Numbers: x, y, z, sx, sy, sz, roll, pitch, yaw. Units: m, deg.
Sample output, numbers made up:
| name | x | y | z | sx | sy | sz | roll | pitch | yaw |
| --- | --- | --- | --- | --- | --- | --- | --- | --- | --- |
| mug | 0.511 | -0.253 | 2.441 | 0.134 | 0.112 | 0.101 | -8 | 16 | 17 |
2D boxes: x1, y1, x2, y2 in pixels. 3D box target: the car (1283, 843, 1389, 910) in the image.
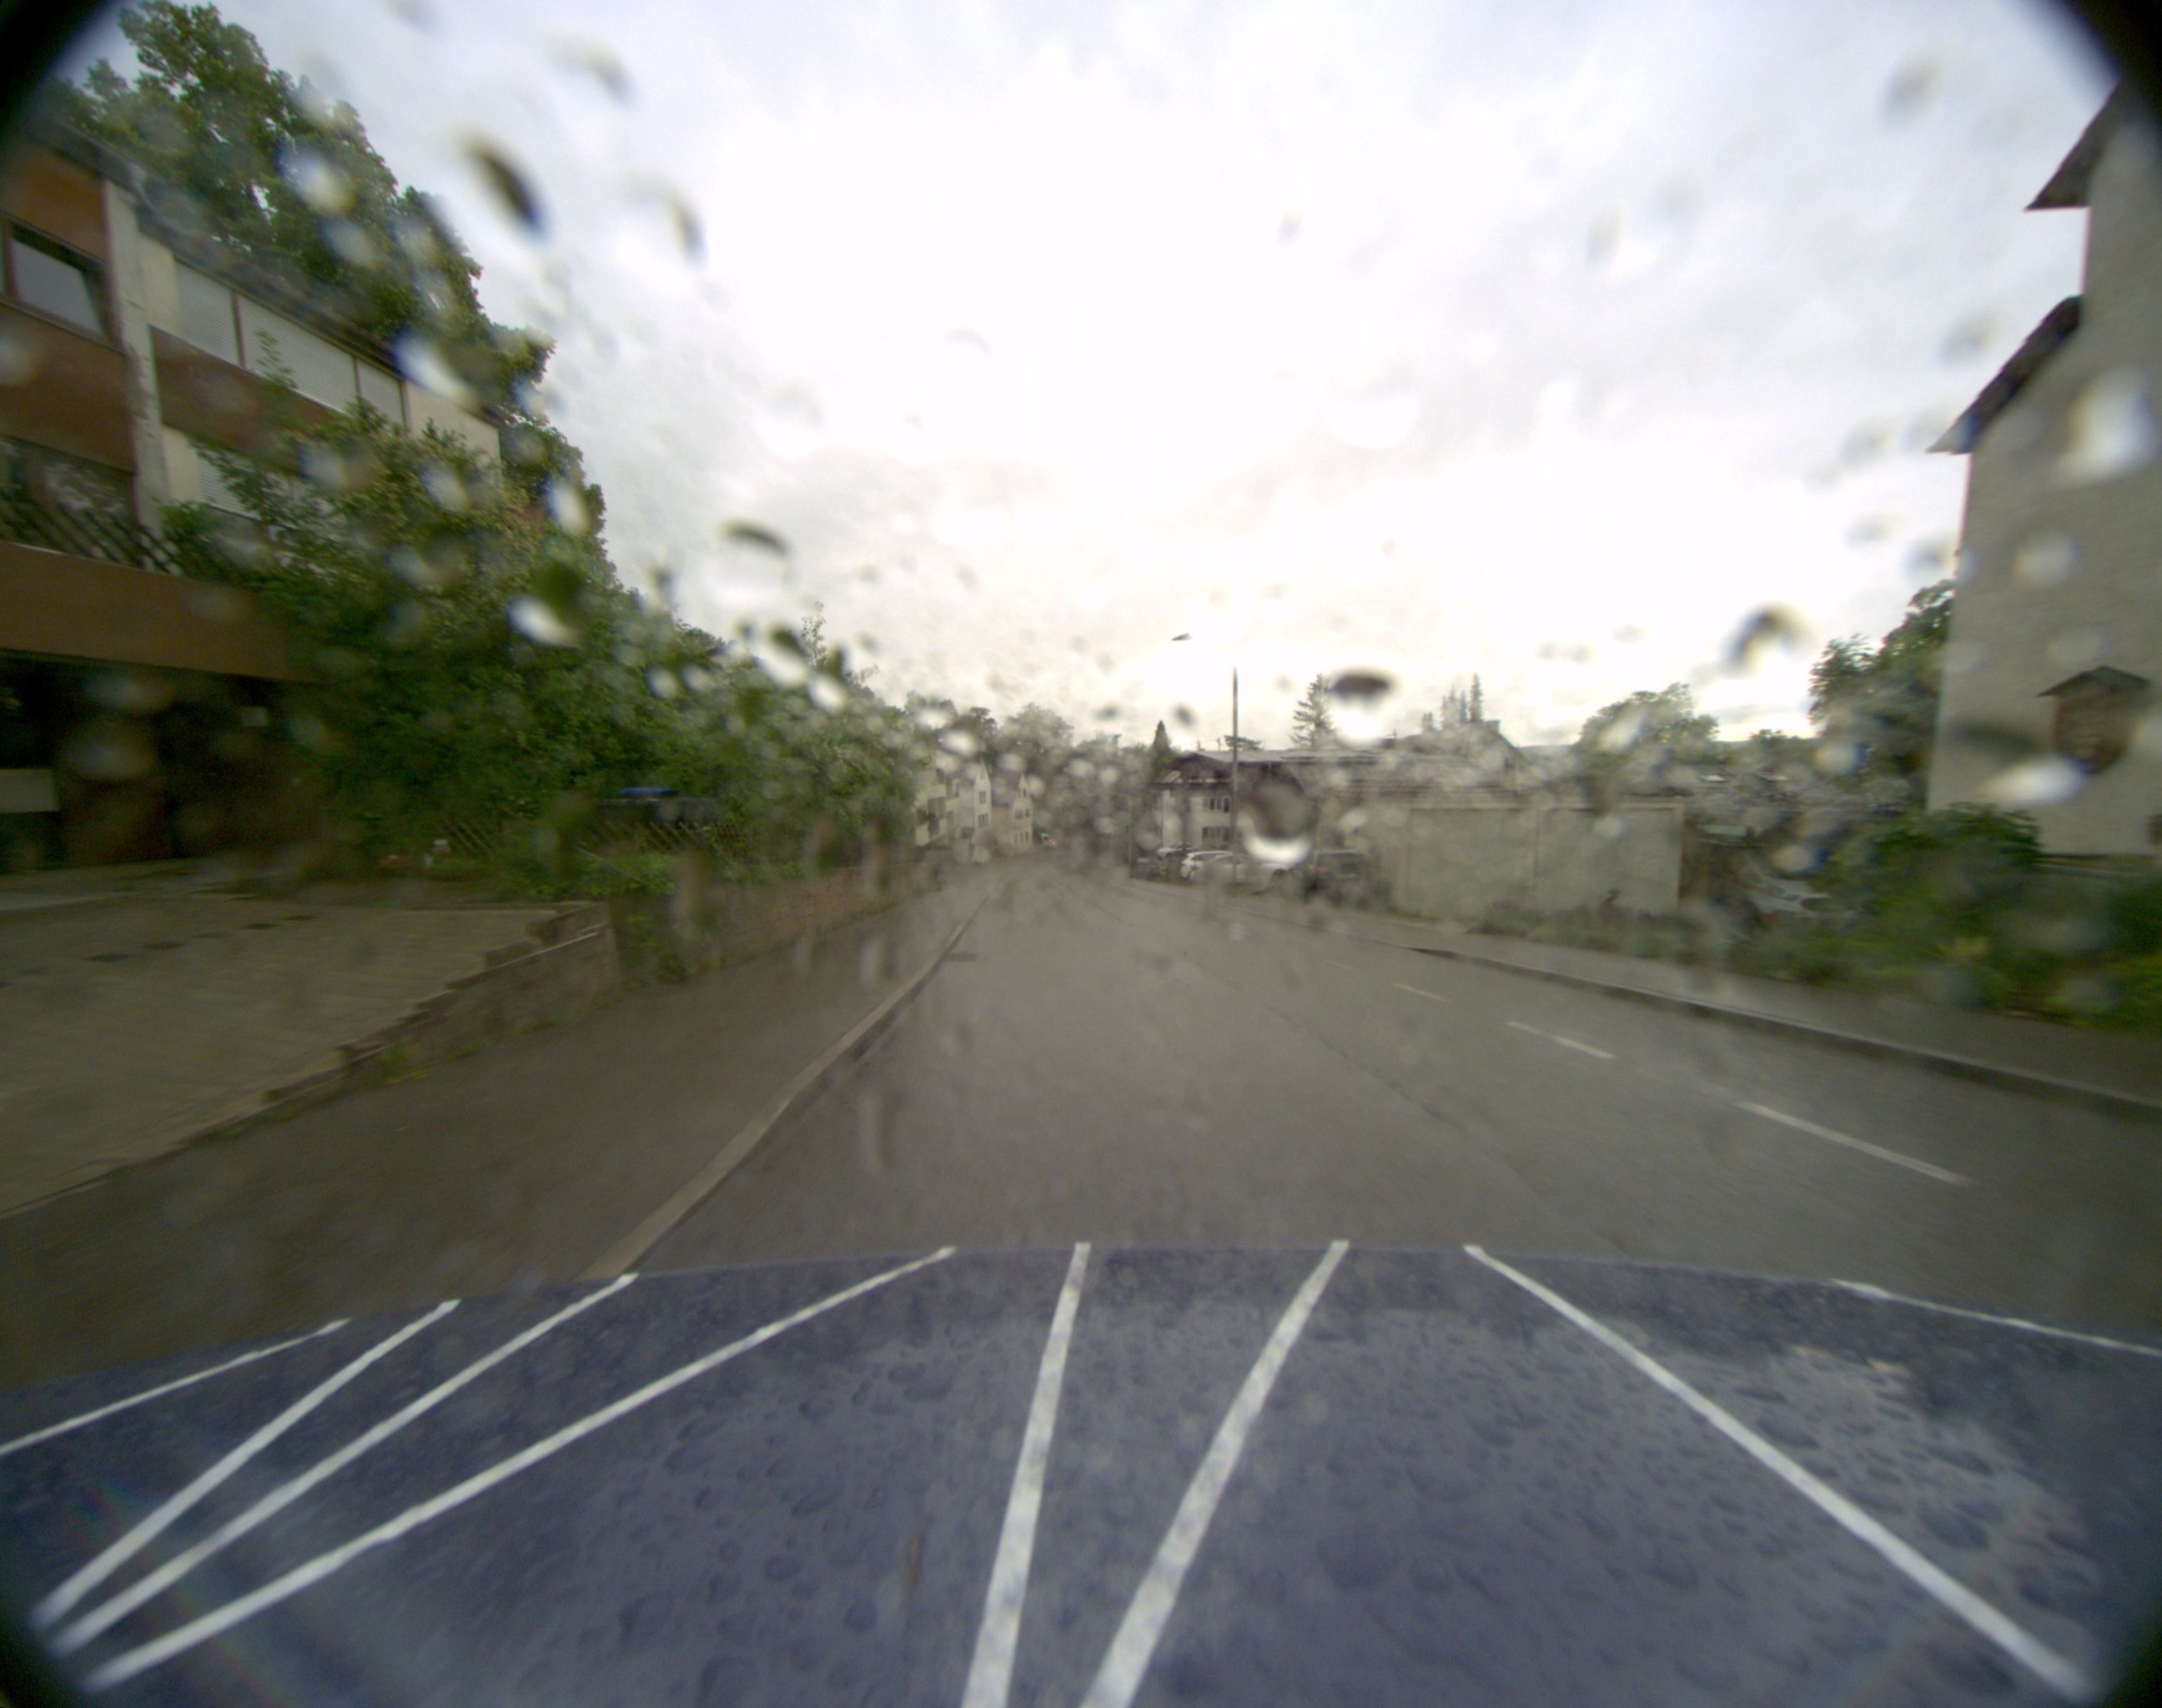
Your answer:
| name | x | y | z | sx | sy | sz | roll | pitch | yaw |
| --- | --- | --- | --- | --- | --- | --- | --- | --- | --- |
| car | 6.975 | 0.528 | 21.332 | 1.978 | 1.650 | 4.965 | 0 | 1 | 8 |

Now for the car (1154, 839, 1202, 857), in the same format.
| name | x | y | z | sx | sy | sz | roll | pitch | yaw |
| --- | --- | --- | --- | --- | --- | --- | --- | --- | --- |
| car | 8.583 | -0.545 | 67.324 | 3.998 | 1.500 | 1.802 | 0 | 4 | -4 |

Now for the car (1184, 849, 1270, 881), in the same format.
| name | x | y | z | sx | sy | sz | roll | pitch | yaw |
| --- | --- | --- | --- | --- | --- | --- | --- | --- | --- |
| car | 7.081 | 0.520 | 36.752 | 3.992 | 1.496 | 1.902 | 0 | 1 | 14 |

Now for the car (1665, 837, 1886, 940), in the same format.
| name | x | y | z | sx | sy | sz | roll | pitch | yaw |
| --- | --- | --- | --- | --- | --- | --- | --- | --- | --- |
| car | 17.074 | 0.726 | 19.036 | 1.971 | 1.991 | 4.109 | 2 | 5 | 8 |

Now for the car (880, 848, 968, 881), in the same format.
| name | x | y | z | sx | sy | sz | roll | pitch | yaw |
| --- | --- | --- | --- | --- | --- | --- | --- | --- | --- |
| car | -8.971 | 0.576 | 43.765 | 4.721 | 1.810 | 1.999 | 0 | 1 | -5 |

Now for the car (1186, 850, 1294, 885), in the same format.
| name | x | y | z | sx | sy | sz | roll | pitch | yaw |
| --- | --- | --- | --- | --- | --- | --- | --- | --- | --- |
| car | 6.938 | 0.583 | 33.586 | 4.505 | 1.496 | 1.901 | 0 | 1 | 7 |

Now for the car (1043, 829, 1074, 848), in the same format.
| name | x | y | z | sx | sy | sz | roll | pitch | yaw |
| --- | --- | --- | --- | --- | --- | --- | --- | --- | --- |
| car | -3.440 | -2.359 | 114.020 | 4.302 | 2.738 | 1.996 | 1 | 5 | -12 |

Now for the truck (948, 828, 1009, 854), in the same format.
| name | x | y | z | sx | sy | sz | roll | pitch | yaw |
| --- | --- | --- | --- | --- | --- | --- | --- | --- | --- |
| truck | -12.707 | -1.640 | 94.282 | 6.967 | 2.688 | 2.141 | 5 | 3 | 10 |

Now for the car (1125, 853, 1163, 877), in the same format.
| name | x | y | z | sx | sy | sz | roll | pitch | yaw |
| --- | --- | --- | --- | --- | --- | --- | --- | --- | --- |
| car | 4.141 | 0.665 | 50.222 | 1.900 | 1.433 | 4.444 | 1 | 1 | -3 |
